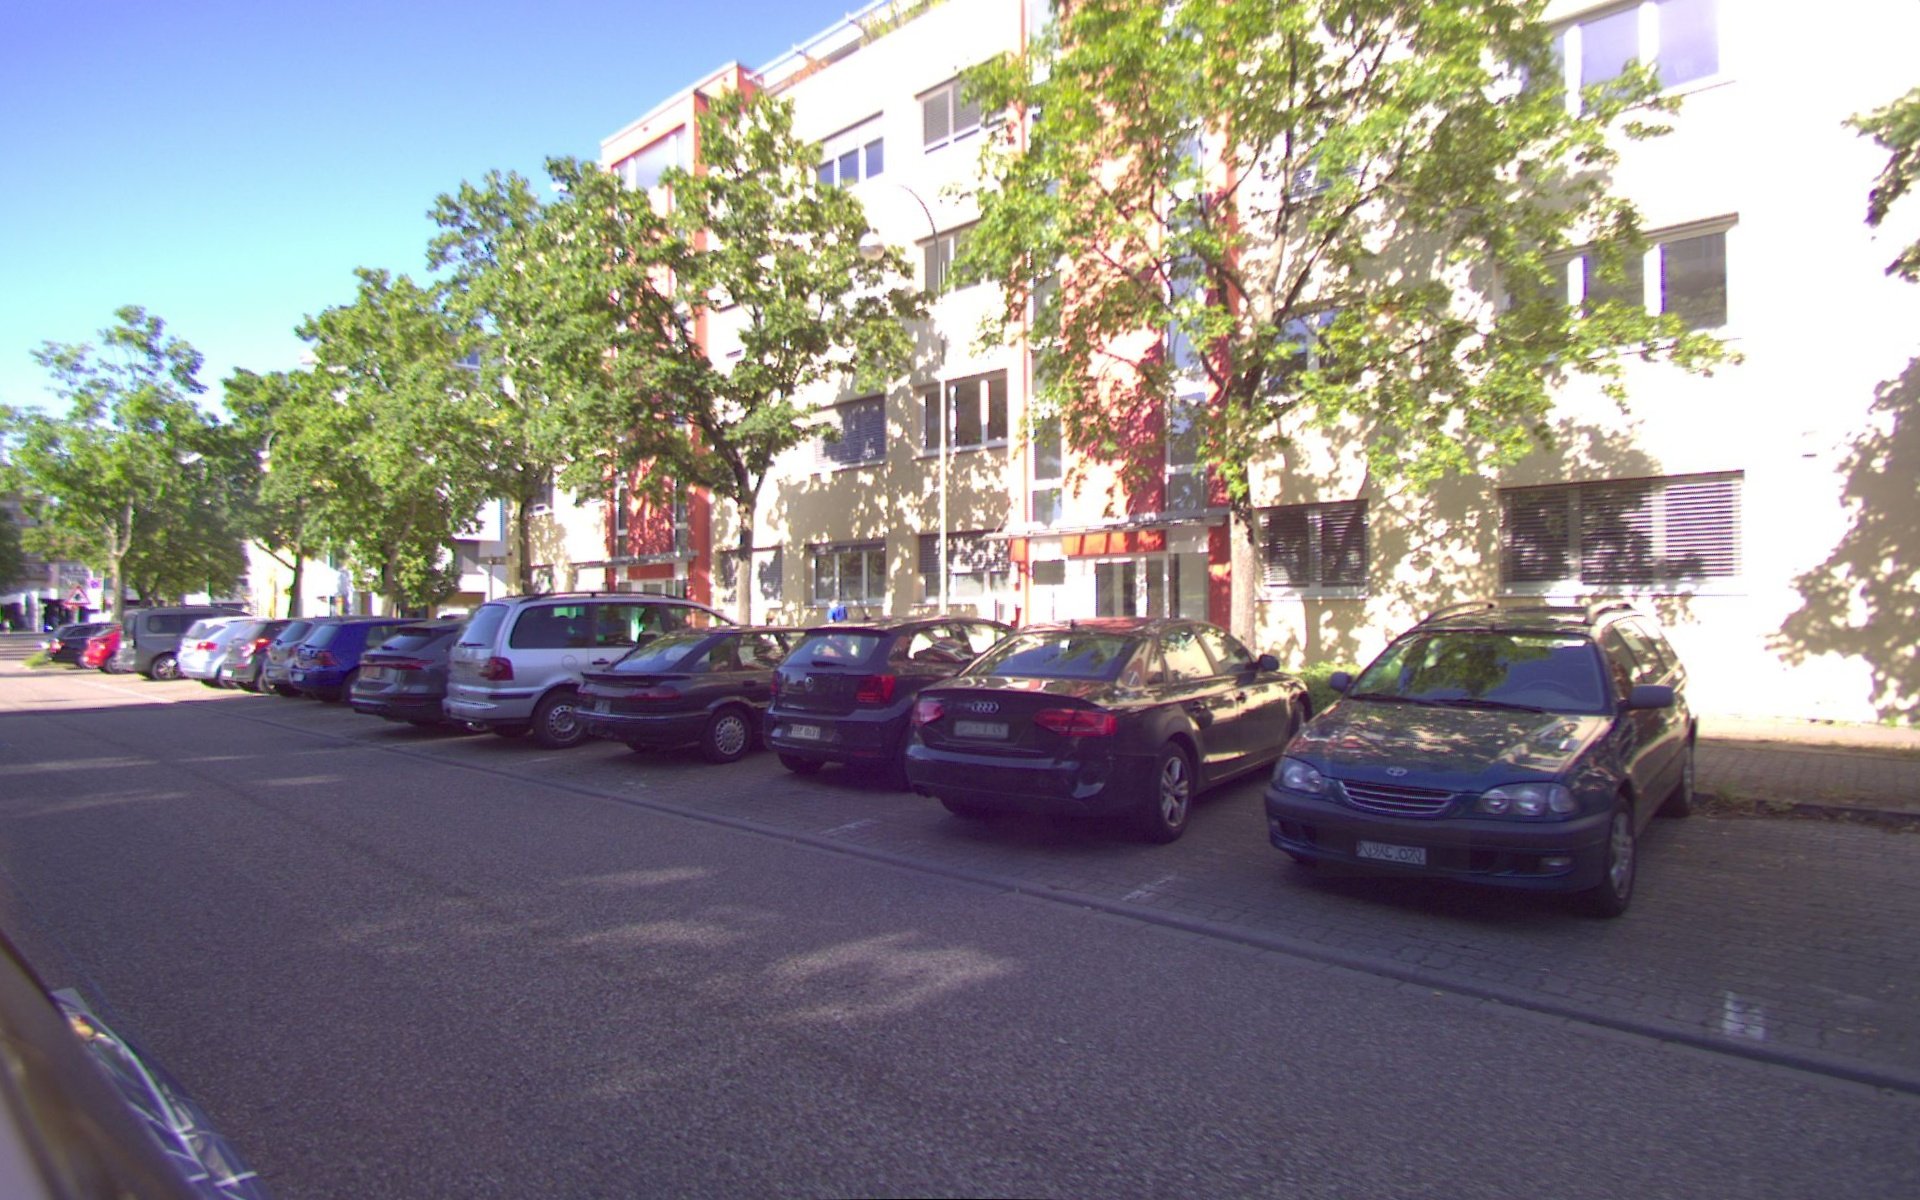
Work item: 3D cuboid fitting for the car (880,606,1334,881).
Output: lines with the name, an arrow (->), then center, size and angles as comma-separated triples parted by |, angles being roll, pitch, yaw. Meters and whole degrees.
car -> 1.301, 0.813, 7.552 | 1.723, 1.438, 3.690 | -2, 0, 38

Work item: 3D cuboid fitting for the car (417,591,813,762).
car -> -4.186, 0.796, 12.728 | 4.270, 1.730, 1.964 | -1, 0, -44

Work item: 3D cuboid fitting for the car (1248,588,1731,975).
car -> 3.490, 0.736, 6.227 | 1.724, 1.539, 4.089 | -2, 0, 41

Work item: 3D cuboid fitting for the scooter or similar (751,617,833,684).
scooter or similar -> -3.825, 1.128, 22.926 | 2.108, 1.457, 0.647 | -2, -3, 41

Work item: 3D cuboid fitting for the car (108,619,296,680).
car -> -20.737, 1.302, 27.782 | 1.738, 1.434, 3.851 | -2, 0, 41

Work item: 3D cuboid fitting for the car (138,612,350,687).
car -> -17.297, 1.140, 24.590 | 1.858, 1.586, 3.853 | -2, 0, 40

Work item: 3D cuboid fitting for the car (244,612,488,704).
car -> -11.465, 1.045, 19.701 | 1.858, 1.520, 3.688 | -2, 0, 40

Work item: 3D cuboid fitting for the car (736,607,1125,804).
car -> -0.122, 0.842, 9.776 | 1.724, 1.438, 3.688 | -2, 0, 40

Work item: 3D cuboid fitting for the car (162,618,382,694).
car -> -15.352, 1.192, 22.734 | 1.873, 1.458, 3.691 | -2, 0, 37

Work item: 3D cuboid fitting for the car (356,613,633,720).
car -> -7.469, 0.985, 16.479 | 1.771, 1.438, 3.688 | -2, 0, 40

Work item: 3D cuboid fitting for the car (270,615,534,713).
car -> -9.829, 1.051, 18.019 | 1.839, 1.438, 3.688 | -2, 0, 40

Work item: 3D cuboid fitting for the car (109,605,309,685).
car -> -19.313, 1.101, 26.147 | 1.785, 1.825, 3.851 | -2, 0, 41

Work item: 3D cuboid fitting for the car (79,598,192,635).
car -> -47.187, 0.945, 58.061 | 1.983, 2.000, 4.743 | -2, -1, 18

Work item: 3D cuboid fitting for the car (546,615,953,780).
car -> -2.138, 0.914, 11.304 | 1.756, 1.368, 4.277 | -2, 0, 40

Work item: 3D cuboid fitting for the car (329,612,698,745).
car -> -5.990, 0.952, 14.045 | 1.771, 1.438, 4.360 | -2, 0, 39

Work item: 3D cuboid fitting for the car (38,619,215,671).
car -> -26.564, 1.394, 32.356 | 1.740, 1.434, 4.214 | -2, 0, 44

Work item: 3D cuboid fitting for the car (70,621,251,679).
car -> -22.933, 1.373, 29.132 | 1.738, 1.434, 3.851 | -2, 0, 41

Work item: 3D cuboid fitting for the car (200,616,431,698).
car -> -13.470, 1.134, 21.305 | 1.857, 1.458, 3.691 | -2, 0, 37
